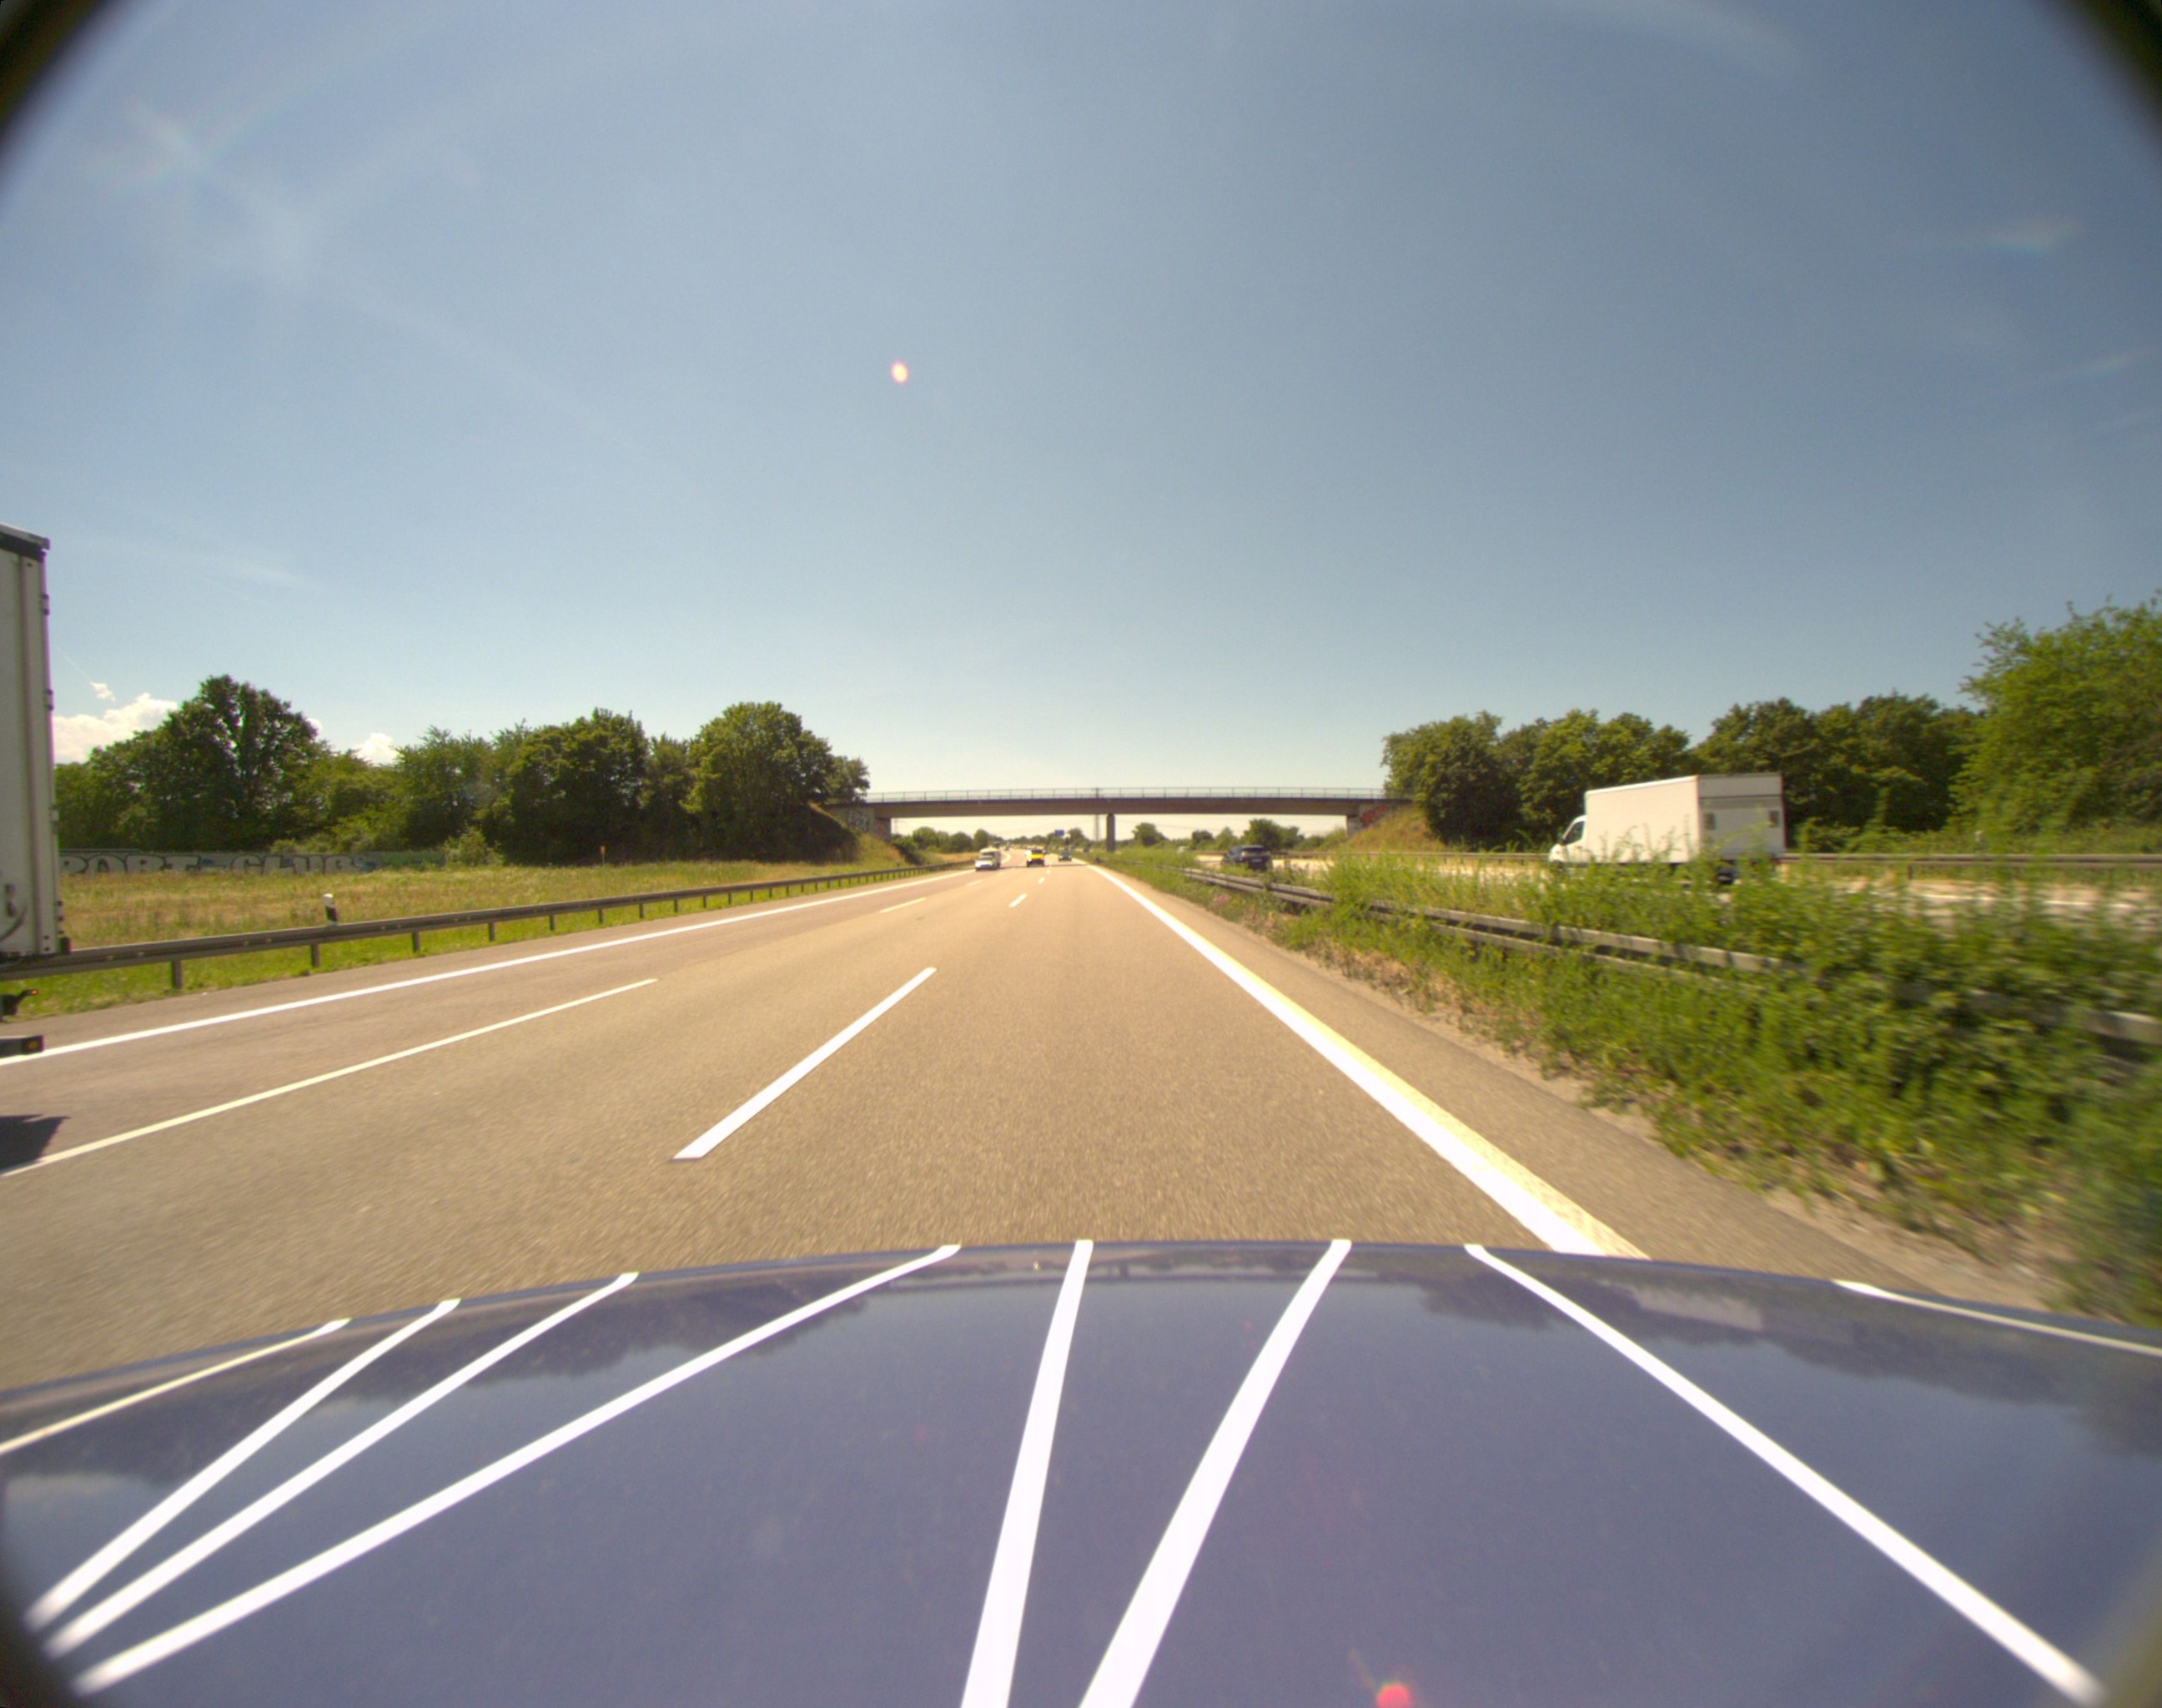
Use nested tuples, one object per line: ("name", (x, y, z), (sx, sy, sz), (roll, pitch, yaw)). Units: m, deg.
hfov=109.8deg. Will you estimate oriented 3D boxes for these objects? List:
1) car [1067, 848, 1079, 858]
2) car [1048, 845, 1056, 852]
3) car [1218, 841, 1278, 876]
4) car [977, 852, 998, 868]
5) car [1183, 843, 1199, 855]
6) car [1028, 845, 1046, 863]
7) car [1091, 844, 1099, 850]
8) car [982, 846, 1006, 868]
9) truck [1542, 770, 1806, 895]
("car", (-1.200, -0.161, 109.707), (1.726, 1.478, 3.999), (-2, 1, -1))
("car", (-7.996, -1.550, 209.355), (1.999, 1.707, 3.998), (-1, 1, -3))
("car", (8.756, 0.211, 40.381), (1.999, 1.718, 5.202), (-1, 1, 0))
("car", (-9.003, 0.567, 73.521), (1.784, 1.467, 3.998), (-1, 1, -3))
("car", (15.727, -0.724, 108.606), (1.715, 1.565, 4.403), (-1, 1, 0))
("car", (-4.711, -0.059, 81.616), (1.777, 1.882, 3.831), (-1, 1, -3))
("car", (4.140, -2.149, 227.917), (1.681, 1.592, 5.632), (-3, 1, -4))
("car", (-9.143, 0.268, 80.070), (2.188, 2.253, 4.949), (-1, 1, -3))
("truck", (17.097, -0.570, 22.675), (2.458, 3.081, 6.989), (-2, 1, 1))
